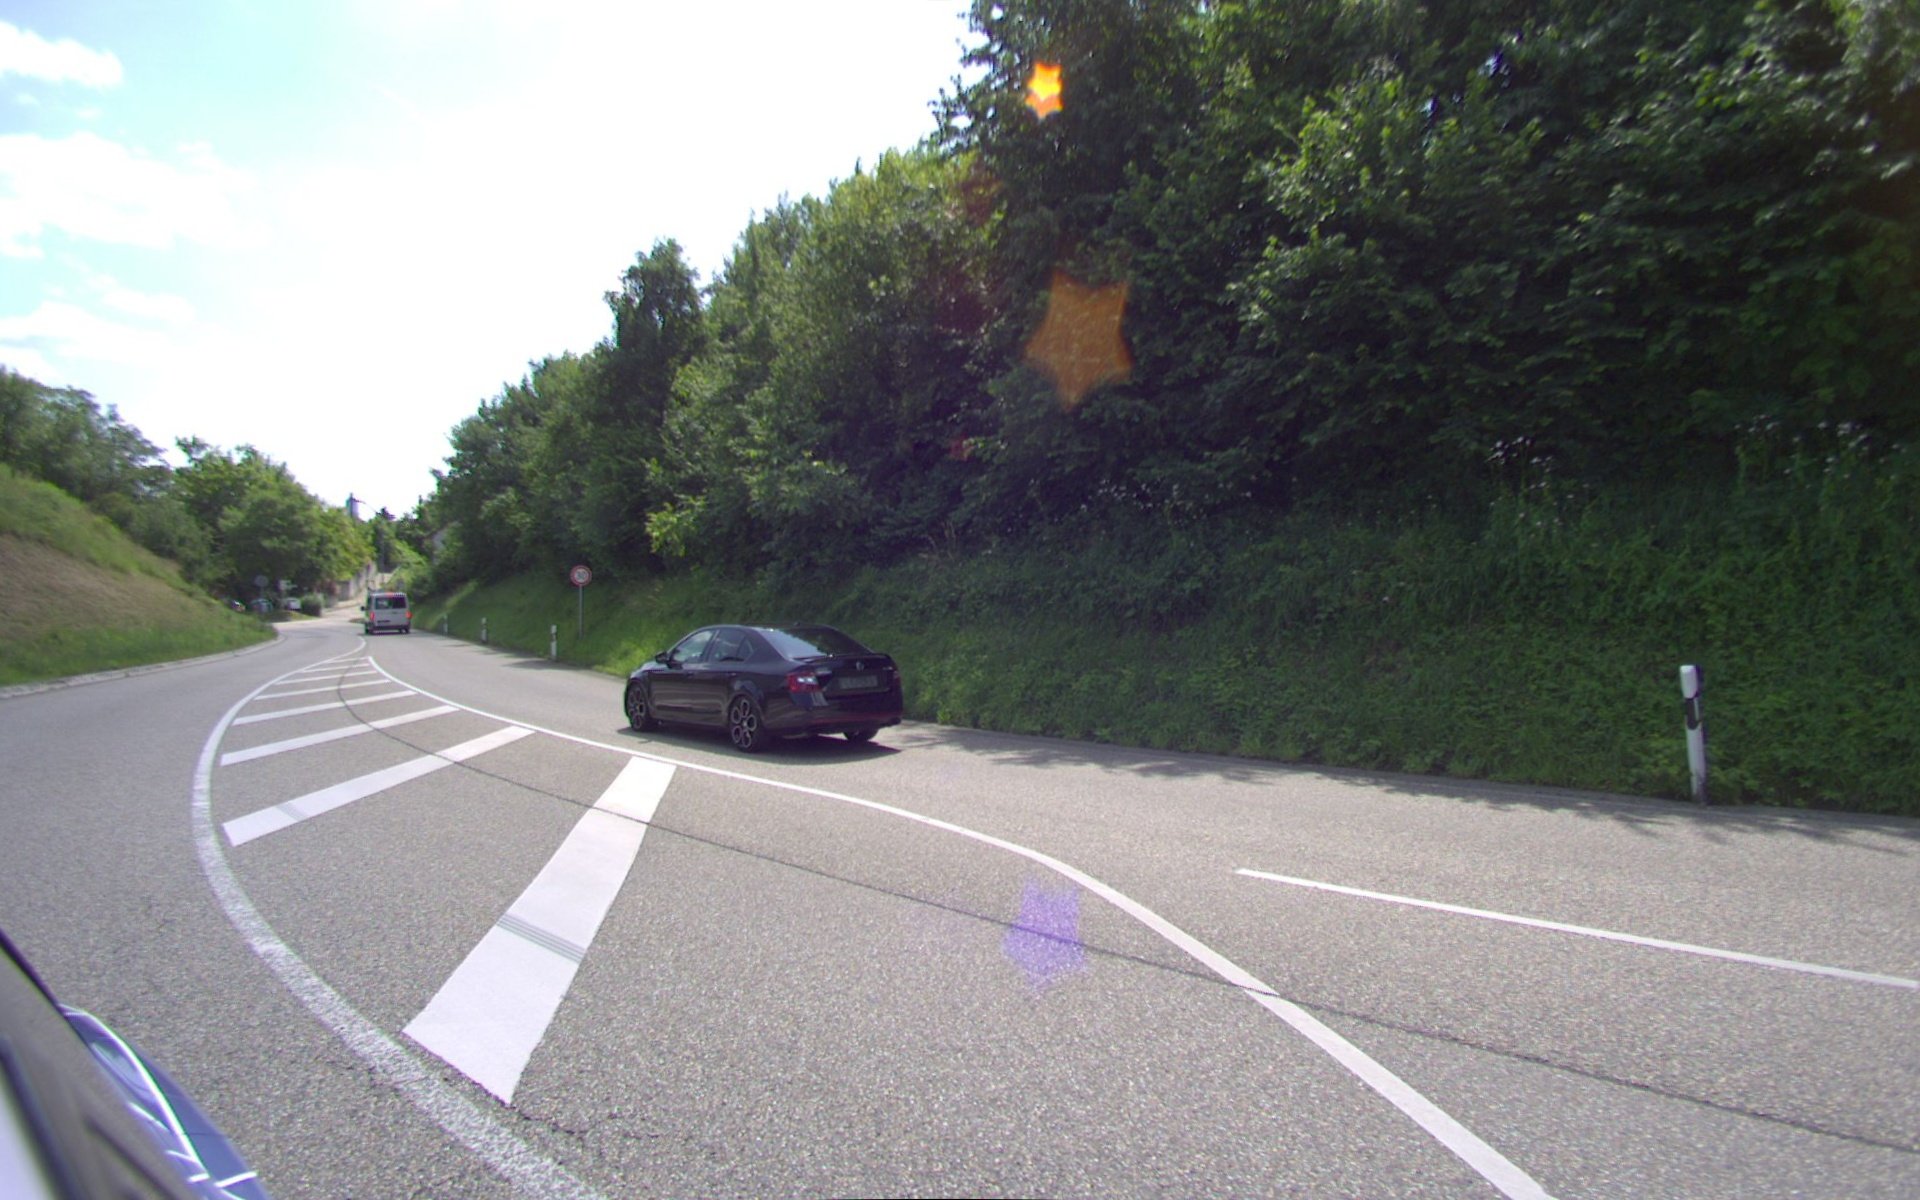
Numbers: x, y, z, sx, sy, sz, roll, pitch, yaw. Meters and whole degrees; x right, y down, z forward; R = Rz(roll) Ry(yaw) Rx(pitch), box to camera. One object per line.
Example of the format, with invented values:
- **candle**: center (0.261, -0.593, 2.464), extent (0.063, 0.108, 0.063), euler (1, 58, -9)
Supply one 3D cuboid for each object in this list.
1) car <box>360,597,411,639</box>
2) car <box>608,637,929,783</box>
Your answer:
- **car**: center (-33.205, 1.029, 58.367), extent (2.057, 2.308, 5.962), euler (1, -1, -34)
- **car**: center (-2.471, 1.177, 12.282), extent (4.346, 1.430, 1.665), euler (-2, -3, 45)
